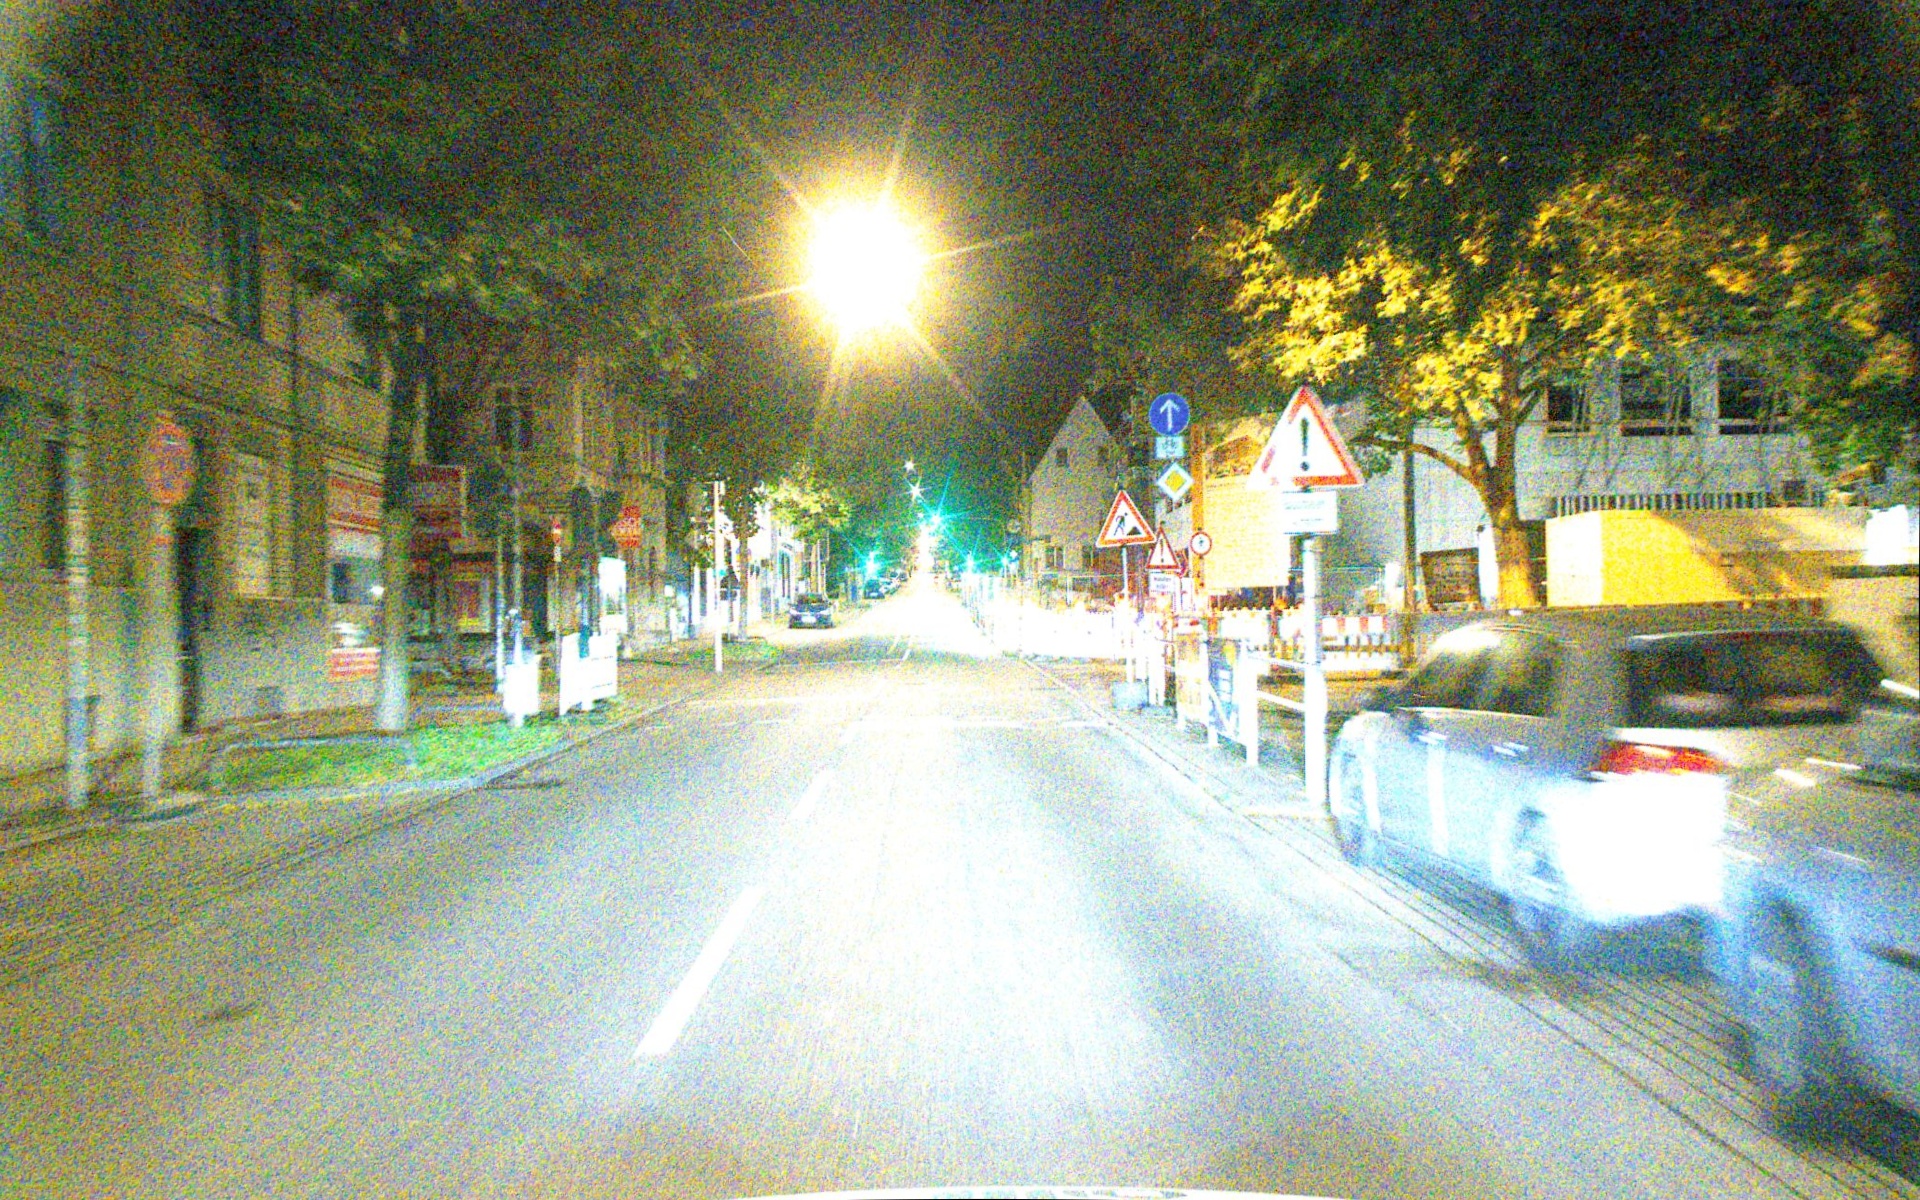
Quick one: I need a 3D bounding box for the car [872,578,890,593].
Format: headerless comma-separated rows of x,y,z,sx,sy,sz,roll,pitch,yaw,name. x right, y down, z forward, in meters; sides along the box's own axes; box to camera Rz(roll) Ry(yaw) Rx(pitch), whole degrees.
-8.533,-1.621,179.642,1.835,1.571,4.204,-1,1,-1,car

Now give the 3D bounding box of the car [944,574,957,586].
-1.351,-2.791,231.810,1.835,1.571,4.204,-1,1,-1,car

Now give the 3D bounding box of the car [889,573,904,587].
-8.521,-2.718,221.939,1.835,1.846,4.205,-1,1,0,car

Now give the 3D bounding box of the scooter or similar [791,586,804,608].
-9.444,-0.184,96.118,0.517,1.185,2.506,-3,-1,-1,scooter or similar

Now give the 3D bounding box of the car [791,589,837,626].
-6.163,0.300,70.275,1.637,1.468,4.204,-1,1,-1,car

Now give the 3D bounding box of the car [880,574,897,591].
-8.033,-1.983,185.695,1.835,1.846,4.204,-1,1,-1,car

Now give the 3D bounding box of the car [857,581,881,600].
-7.803,-0.860,142.166,1.835,1.571,4.204,-1,1,-1,car

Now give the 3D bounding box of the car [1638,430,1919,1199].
3.198,0.509,3.324,1.701,1.887,4.314,-2,0,-3,car

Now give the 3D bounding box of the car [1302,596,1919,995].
3.149,0.723,8.372,1.693,1.444,4.320,-1,0,-3,car

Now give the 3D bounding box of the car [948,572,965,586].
-0.418,-2.467,192.875,1.835,1.571,4.204,-1,1,-1,car

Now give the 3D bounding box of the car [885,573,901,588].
-8.262,-2.429,203.989,1.835,1.846,4.204,-1,1,-1,car

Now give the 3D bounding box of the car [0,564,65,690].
-22.464,0.626,35.007,5.728,2.589,2.246,0,-3,-2,car
